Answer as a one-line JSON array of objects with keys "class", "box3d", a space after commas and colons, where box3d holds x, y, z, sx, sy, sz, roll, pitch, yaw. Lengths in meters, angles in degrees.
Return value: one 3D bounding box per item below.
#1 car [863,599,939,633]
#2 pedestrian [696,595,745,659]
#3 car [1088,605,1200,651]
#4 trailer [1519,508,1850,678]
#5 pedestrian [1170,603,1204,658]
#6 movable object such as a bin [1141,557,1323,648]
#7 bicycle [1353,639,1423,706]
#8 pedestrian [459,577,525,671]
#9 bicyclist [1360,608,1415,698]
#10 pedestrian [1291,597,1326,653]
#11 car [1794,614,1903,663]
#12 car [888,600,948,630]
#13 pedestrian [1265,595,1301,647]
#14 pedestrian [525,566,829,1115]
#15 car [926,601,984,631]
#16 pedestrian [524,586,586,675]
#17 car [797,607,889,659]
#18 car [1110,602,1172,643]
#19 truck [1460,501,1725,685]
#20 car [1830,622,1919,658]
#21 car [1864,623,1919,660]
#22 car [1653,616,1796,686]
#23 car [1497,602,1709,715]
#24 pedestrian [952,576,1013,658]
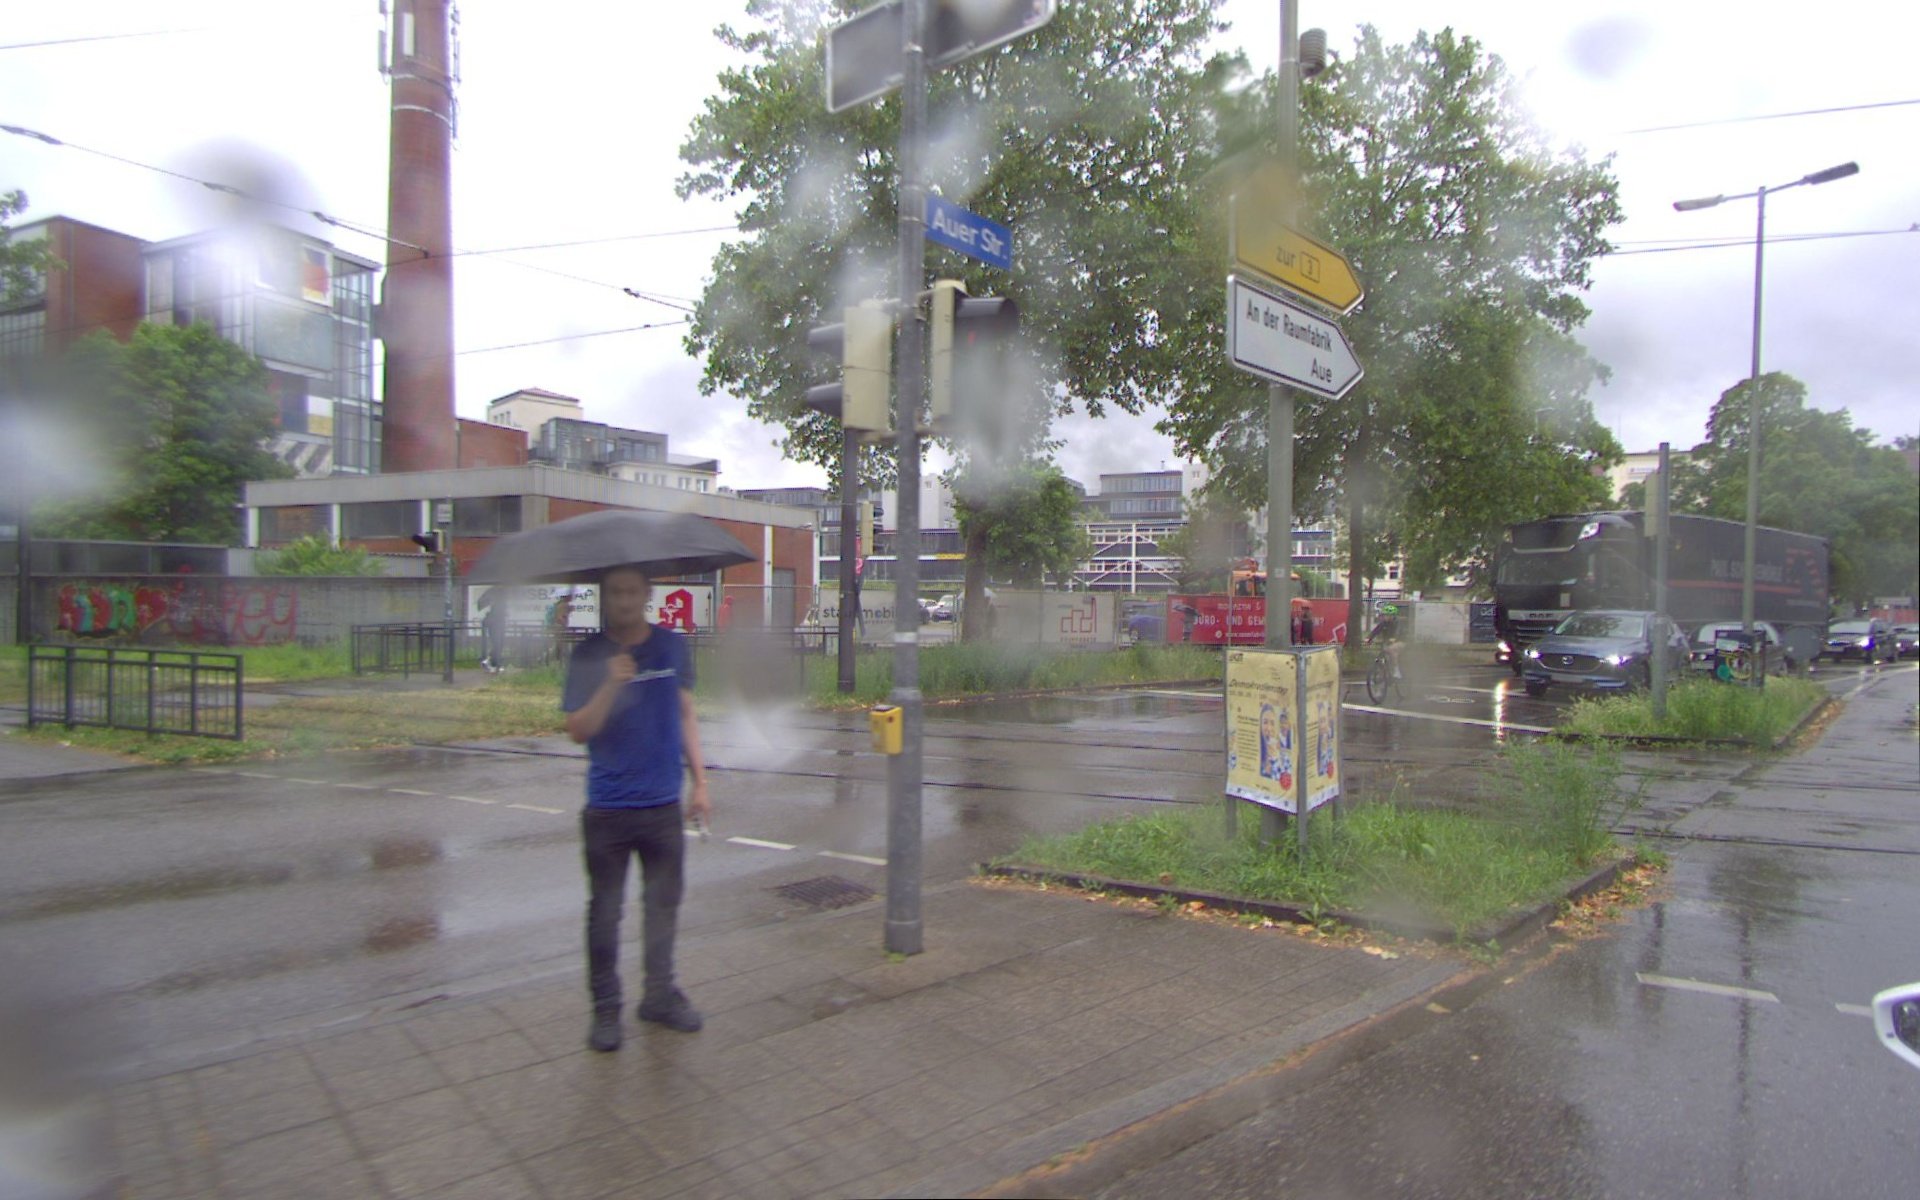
[{"class": "car", "box3d": [-3.179, 0.836, 54.862, 2.129, 1.765, 4.801, 1, 0, 25]}, {"class": "pedestrian", "box3d": [-5.824, 0.645, 24.455, 0.814, 1.524, 0.848, 0, 0, 28]}, {"class": "car", "box3d": [6.024, 0.887, 33.270, 1.820, 1.339, 3.640, 1, 1, -27]}, {"class": "trailer", "box3d": [22.153, -0.116, 30.053, 14.899, 4.103, 3.420, 0, 0, -35]}, {"class": "pedestrian", "box3d": [6.505, 0.864, 28.788, 0.758, 1.535, 0.641, 0, 0, -13]}, {"class": "movable object such as a bin", "box3d": [9.651, 0.061, 36.478, 2.736, 2.970, 6.738, 0, 0, -24]}, {"class": "bicycle", "box3d": [7.295, 1.201, 17.069, 0.526, 1.038, 1.864, 0, 0, 42]}, {"class": "pedestrian", "box3d": [-9.667, 0.489, 20.766, 0.938, 1.887, 0.848, 0, 0, 28]}, {"class": "bicyclist", "box3d": [7.263, 0.871, 17.046, 0.573, 1.480, 1.005, 0, 0, 42]}, {"class": "pedestrian", "box3d": [10.631, 0.764, 30.700, 0.889, 1.671, 0.754, 0, 0, 9]}, {"class": "car", "box3d": [32.327, 1.411, 36.503, 4.753, 1.641, 1.856, 3, -2, -34]}, {"class": "car", "box3d": [-2.580, 0.901, 62.845, 1.961, 1.746, 4.902, 1, 0, 21]}, {"class": "pedestrian", "box3d": [10.111, 0.665, 31.411, 0.865, 1.602, 0.641, 0, 0, -13]}, {"class": "pedestrian", "box3d": [-0.976, 0.709, 3.456, 0.850, 1.602, 0.640, 0, 0, 39]}, {"class": "car", "box3d": [-0.238, 0.933, 61.983, 1.961, 1.760, 4.902, 1, 0, 21]}, {"class": "pedestrian", "box3d": [-8.775, 0.653, 21.781, 0.938, 1.887, 0.848, 0, 0, 28]}, {"class": "car", "box3d": [-3.468, 0.918, 29.274, 1.816, 1.339, 3.647, 1, 1, -21]}, {"class": "car", "box3d": [8.841, 1.062, 48.909, 1.963, 1.816, 3.995, 0, 1, 26]}, {"class": "truck", "box3d": [16.492, -0.150, 26.057, 6.904, 4.133, 3.427, 0, 1, -35]}, {"class": "car", "box3d": [41.952, 1.747, 44.713, 2.046, 1.473, 4.927, 0, 0, -2]}, {"class": "car", "box3d": [37.920, 1.631, 40.101, 4.291, 1.379, 1.716, 0, -1, -34]}, {"class": "car", "box3d": [17.597, 1.107, 23.055, 4.063, 1.391, 1.685, 0, 0, -39]}, {"class": "car", "box3d": [12.295, 0.988, 19.087, 4.890, 1.705, 2.055, -1, 4, -41]}, {"class": "pedestrian", "box3d": [0.554, 0.405, 24.978, 1.199, 1.991, 0.905, 0, 1, -28]}]
